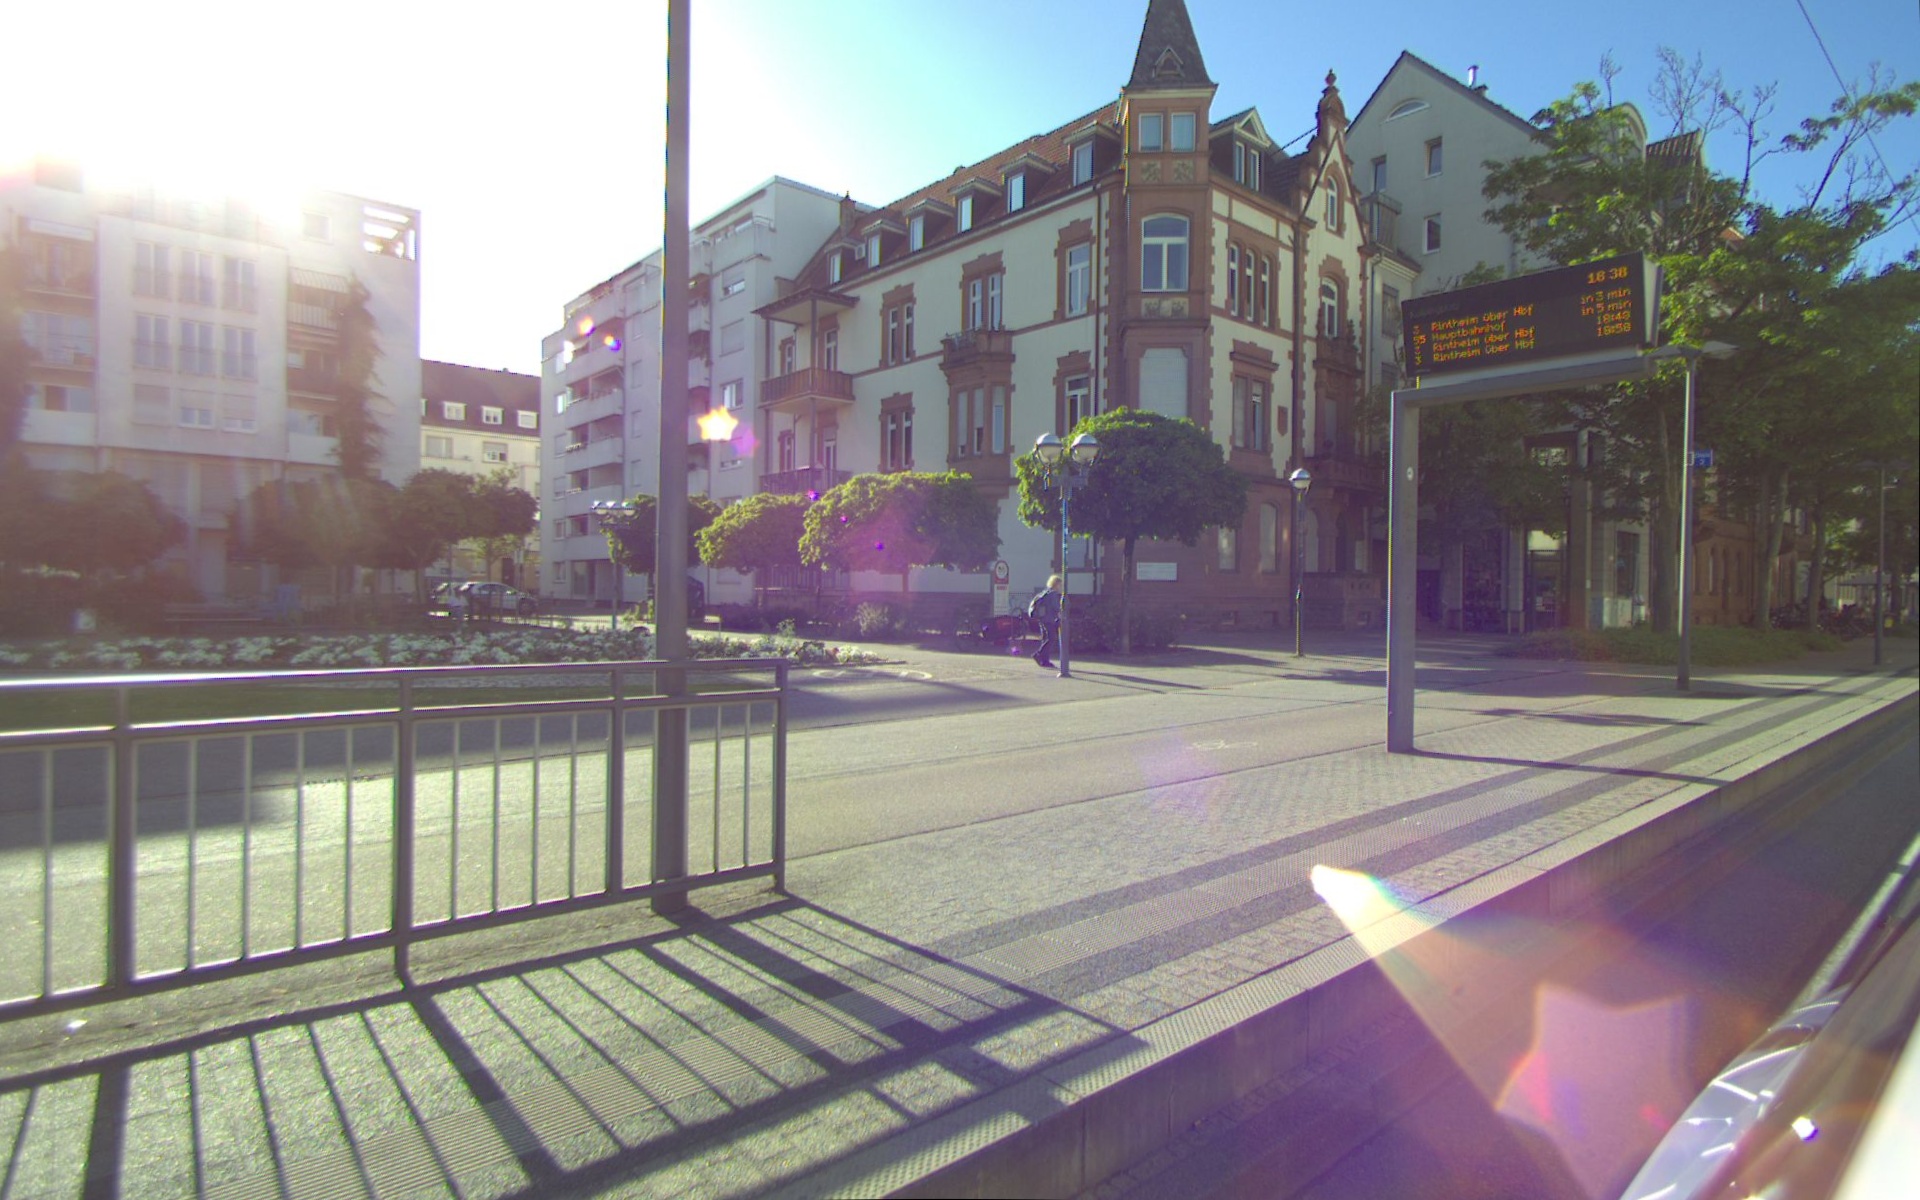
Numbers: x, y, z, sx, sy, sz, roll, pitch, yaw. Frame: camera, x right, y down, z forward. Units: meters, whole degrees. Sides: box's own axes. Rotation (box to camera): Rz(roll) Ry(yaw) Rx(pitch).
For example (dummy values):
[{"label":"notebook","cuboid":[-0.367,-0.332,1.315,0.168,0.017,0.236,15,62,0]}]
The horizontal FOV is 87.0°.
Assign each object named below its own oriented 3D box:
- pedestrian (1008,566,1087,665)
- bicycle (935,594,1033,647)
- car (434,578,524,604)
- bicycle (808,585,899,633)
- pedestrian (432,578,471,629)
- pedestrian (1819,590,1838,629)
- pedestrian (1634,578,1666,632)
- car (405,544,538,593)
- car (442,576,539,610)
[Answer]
[{"label":"pedestrian","cuboid":[1.549,0.248,17.899,1.064,1.689,0.944,1,0,37]},{"label":"bicycle","cuboid":[0.619,0.457,24.070,0.786,1.081,2.767,1,2,40]},{"label":"car","cuboid":[-24.904,-0.466,52.424,3.923,1.304,2.001,0,1,-34]},{"label":"bicycle","cuboid":[-3.231,0.258,30.923,2.864,1.389,0.745,0,1,-41]},{"label":"pedestrian","cuboid":[-14.758,0.078,29.335,0.917,1.429,1.529,0,1,-30]},{"label":"pedestrian","cuboid":[45.591,0.486,53.143,0.549,2.039,0.654,0,0,-38]},{"label":"pedestrian","cuboid":[23.130,0.156,33.927,0.740,1.757,0.864,1,0,43]},{"label":"car","cuboid":[-27.798,-1.741,57.717,2.806,2.587,6.294,1,1,44]},{"label":"car","cuboid":[-22.284,-0.349,48.099,3.923,1.536,2.001,0,1,-34]}]
